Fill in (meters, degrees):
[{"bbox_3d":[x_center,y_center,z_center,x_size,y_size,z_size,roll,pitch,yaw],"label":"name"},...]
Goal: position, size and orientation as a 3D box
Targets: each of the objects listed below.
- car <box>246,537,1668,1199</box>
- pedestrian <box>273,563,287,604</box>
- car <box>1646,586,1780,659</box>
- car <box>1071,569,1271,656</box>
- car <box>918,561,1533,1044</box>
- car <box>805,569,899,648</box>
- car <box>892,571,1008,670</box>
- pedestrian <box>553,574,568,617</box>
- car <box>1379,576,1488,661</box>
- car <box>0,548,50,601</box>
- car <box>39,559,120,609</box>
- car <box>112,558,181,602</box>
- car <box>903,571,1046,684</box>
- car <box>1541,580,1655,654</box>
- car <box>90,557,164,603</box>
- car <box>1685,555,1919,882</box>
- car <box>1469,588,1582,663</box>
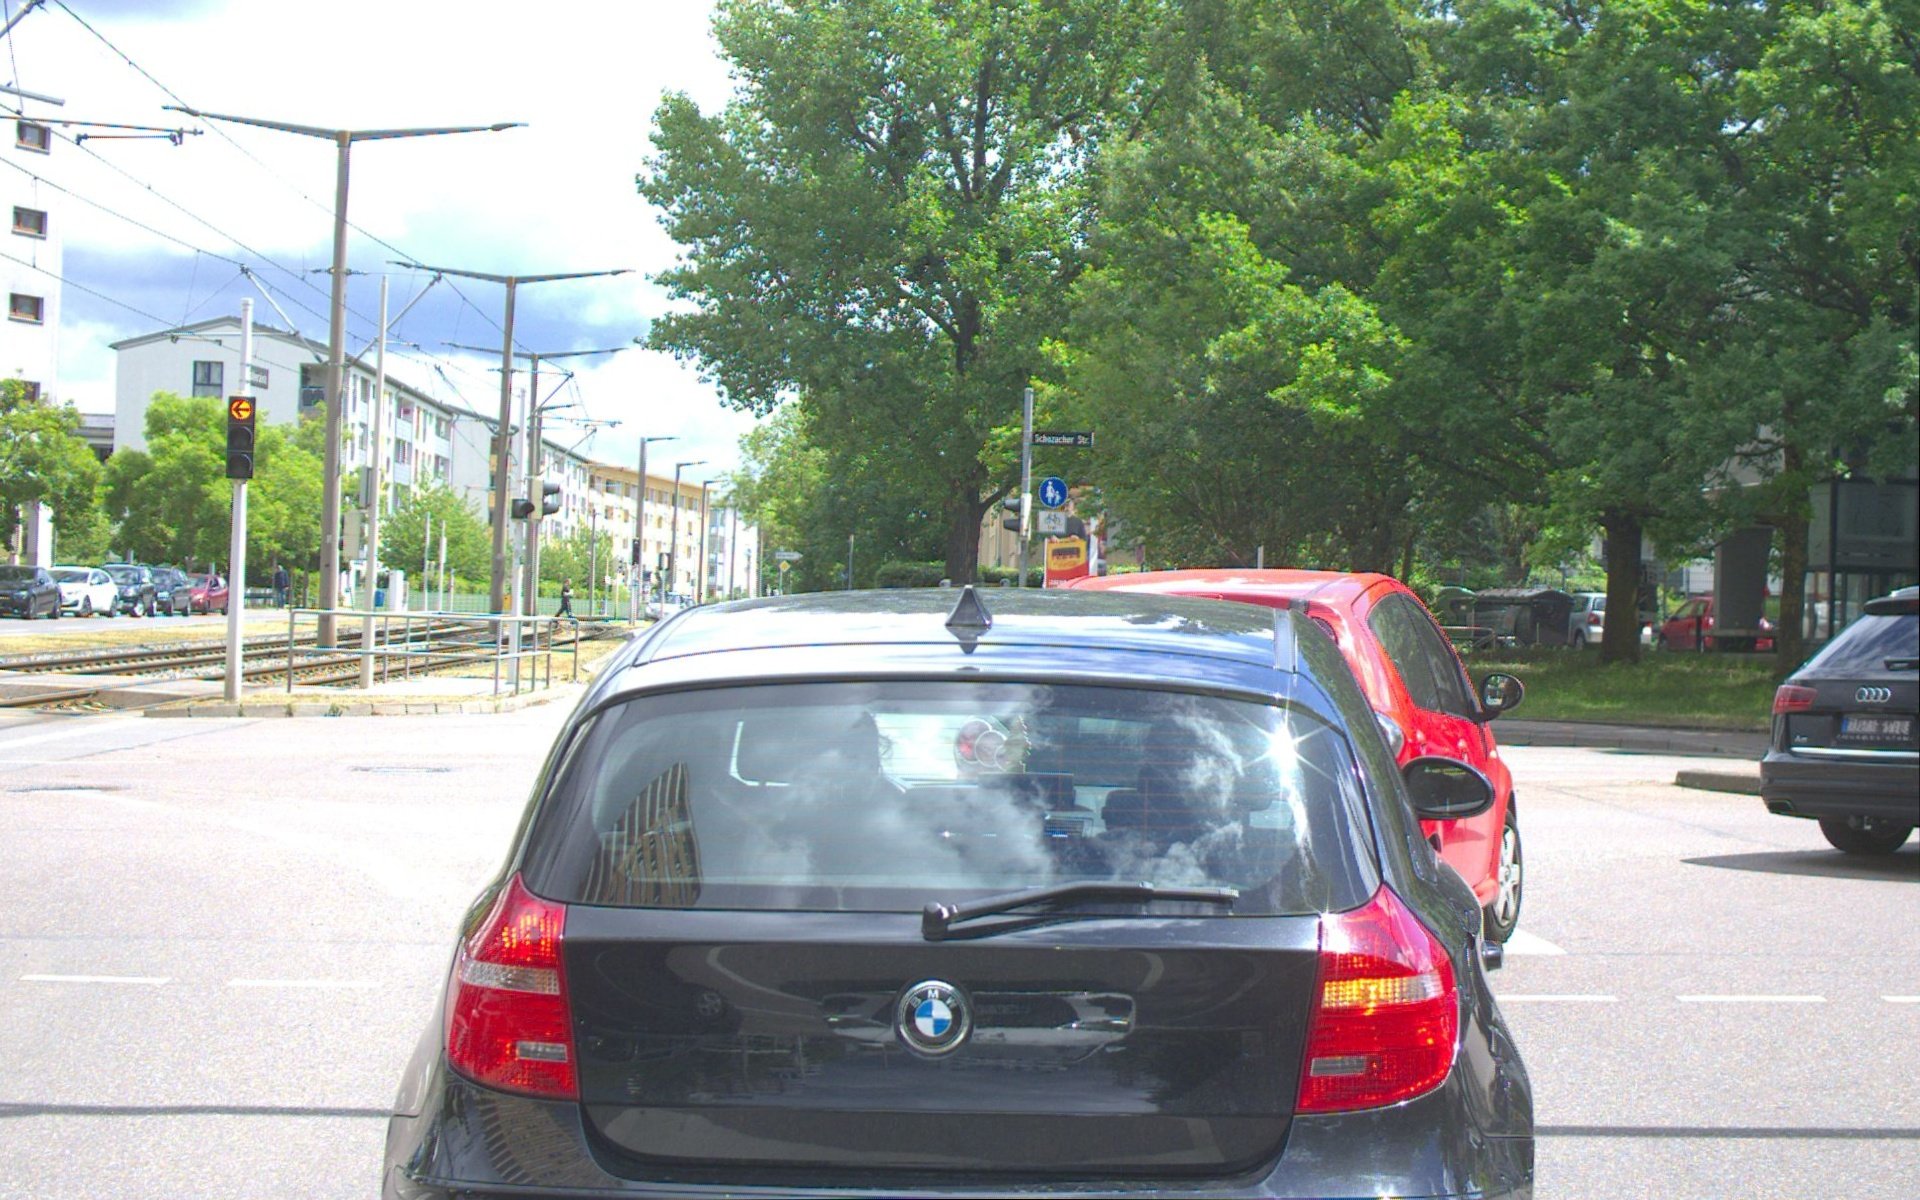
[{"bbox_3d":[-0.027,0.645,6.281,1.752,1.482,4.000,1,1,0],"label":"car"},{"bbox_3d":[-27.116,-0.658,137.035,0.452,1.631,0.480,1,1,-3],"label":"pedestrian"},{"bbox_3d":[17.340,0.499,79.379,1.730,1.589,4.001,1,1,-8],"label":"car"},{"bbox_3d":[4.637,0.279,75.731,3.986,1.817,1.779,1,1,-22],"label":"car"},{"bbox_3d":[1.059,0.596,12.192,1.543,1.436,3.193,1,1,16],"label":"car"},{"bbox_3d":[-2.397,0.161,77.126,1.993,1.678,4.000,1,1,0],"label":"car"},{"bbox_3d":[-0.190,0.368,61.674,1.993,1.678,4.000,1,0,0],"label":"car"},{"bbox_3d":[-15.220,-0.172,130.953,0.478,1.631,0.454,1,1,-1],"label":"pedestrian"},{"bbox_3d":[10.534,0.389,76.696,1.630,1.804,4.033,1,1,-3],"label":"car"},{"bbox_3d":[-25.947,-0.709,93.456,1.760,1.390,4.001,1,1,-7],"label":"car"},{"bbox_3d":[-25.847,-0.484,101.018,1.760,1.390,4.001,1,1,-7],"label":"car"},{"bbox_3d":[-26.523,-0.665,112.166,1.760,1.390,4.001,1,1,-7],"label":"car"},{"bbox_3d":[0.208,0.417,54.225,2.152,1.678,4.000,1,0,0],"label":"car"},{"bbox_3d":[14.609,0.379,78.936,1.630,1.589,4.001,1,1,-3],"label":"car"},{"bbox_3d":[-26.034,-0.639,107.546,1.760,1.390,4.001,1,1,-7],"label":"car"},{"bbox_3d":[6.090,0.571,18.022,4.507,1.548,2.000,0,0,-37],"label":"car"},{"bbox_3d":[12.746,0.549,77.644,1.630,1.567,4.033,1,1,-3],"label":"car"}]
